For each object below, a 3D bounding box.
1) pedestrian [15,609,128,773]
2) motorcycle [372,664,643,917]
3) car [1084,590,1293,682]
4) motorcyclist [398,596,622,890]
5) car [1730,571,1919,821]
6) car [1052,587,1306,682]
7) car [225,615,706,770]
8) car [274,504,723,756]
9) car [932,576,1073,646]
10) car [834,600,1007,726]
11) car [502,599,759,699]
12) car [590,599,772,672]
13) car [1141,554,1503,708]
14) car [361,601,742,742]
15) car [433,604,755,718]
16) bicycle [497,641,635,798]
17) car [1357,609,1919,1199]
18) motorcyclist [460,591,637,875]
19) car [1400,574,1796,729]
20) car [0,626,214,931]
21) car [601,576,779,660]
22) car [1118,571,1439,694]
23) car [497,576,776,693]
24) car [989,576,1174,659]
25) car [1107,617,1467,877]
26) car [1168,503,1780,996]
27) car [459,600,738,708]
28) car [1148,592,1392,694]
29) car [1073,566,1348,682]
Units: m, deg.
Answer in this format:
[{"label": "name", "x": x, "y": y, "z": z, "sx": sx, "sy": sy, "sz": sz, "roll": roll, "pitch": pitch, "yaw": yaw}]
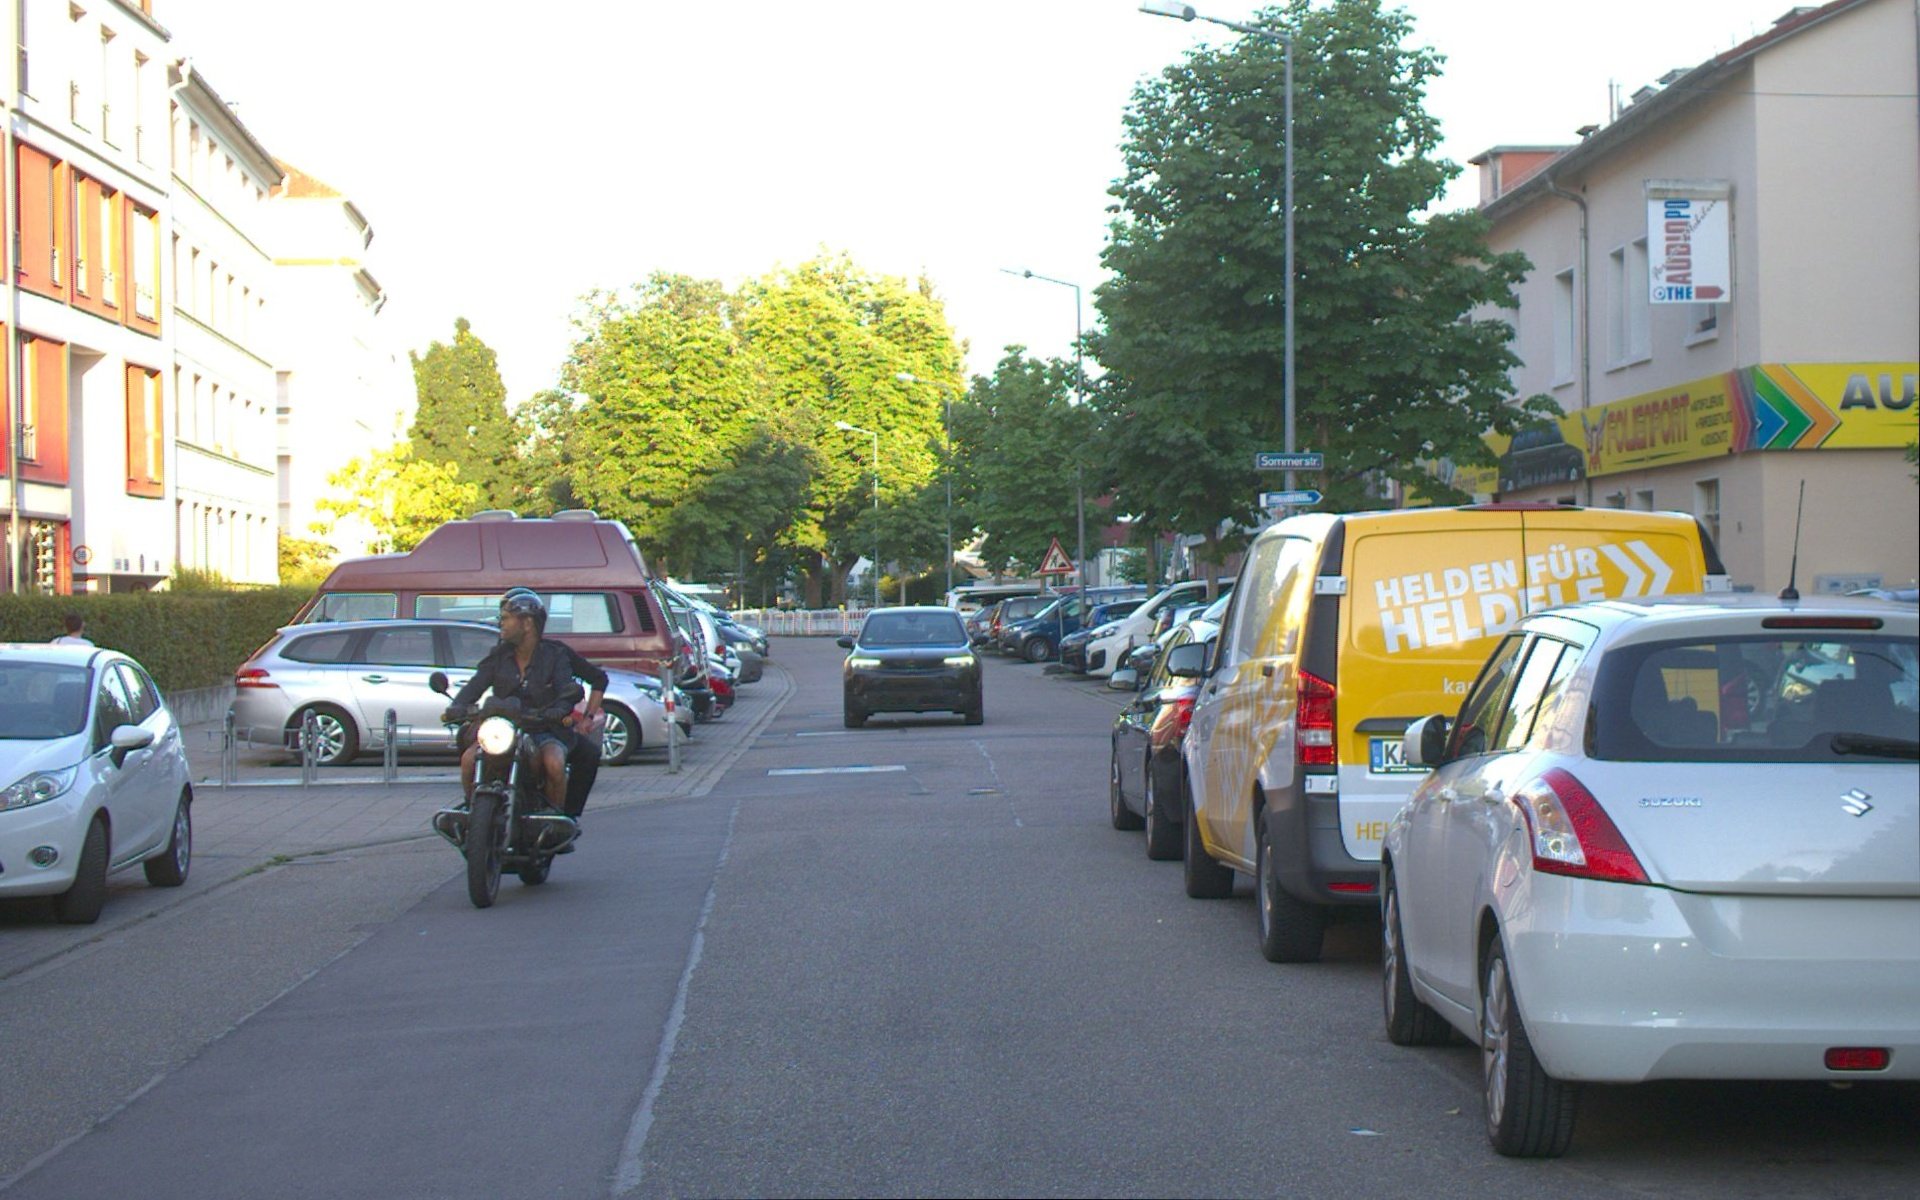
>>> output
[{"label": "pedestrian", "x": -8.275, "y": 0.836, "z": 32.031, "sx": 0.832, "sy": 1.496, "sz": 0.798, "roll": 1, "pitch": 0, "yaw": 0}, {"label": "motorcycle", "x": -2.415, "y": 0.996, "z": 18.625, "sx": 0.846, "sy": 1.205, "sz": 2.074, "roll": -3, "pitch": 0, "yaw": 9}, {"label": "car", "x": 4.996, "y": 0.780, "z": 75.563, "sx": 4.316, "sy": 1.798, "sz": 1.811, "roll": -3, "pitch": 0, "yaw": -2}, {"label": "motorcyclist", "x": -2.422, "y": 0.757, "z": 18.606, "sx": 0.890, "sy": 1.500, "sz": 0.969, "roll": -3, "pitch": 0, "yaw": 9}, {"label": "car", "x": 6.252, "y": 0.526, "z": 21.369, "sx": 1.726, "sy": 1.419, "sz": 4.424, "roll": -2, "pitch": 0, "yaw": -2}, {"label": "car", "x": 4.474, "y": 0.704, "z": 70.652, "sx": 4.943, "sy": 1.683, "sz": 2.077, "roll": -3, "pitch": 0, "yaw": -2}, {"label": "car", "x": -4.863, "y": 0.907, "z": 34.335, "sx": 4.615, "sy": 1.455, "sz": 1.881, "roll": 1, "pitch": 0, "yaw": -4}, {"label": "car", "x": -4.887, "y": 0.311, "z": 36.915, "sx": 4.511, "sy": 2.575, "sz": 2.000, "roll": 1, "pitch": 0, "yaw": 1}, {"label": "car", "x": 1.275, "y": 0.336, "z": 103.701, "sx": 3.967, "sy": 1.905, "sz": 2.049, "roll": -3, "pitch": 0, "yaw": -6}, {"label": "car", "x": -0.469, "y": 0.783, "z": 44.837, "sx": 1.780, "sy": 1.512, "sz": 3.999, "roll": -2, "pitch": 0, "yaw": 6}, {"label": "car", "x": -5.652, "y": 0.833, "z": 59.333, "sx": 4.256, "sy": 1.646, "sz": 1.888, "roll": 1, "pitch": 0, "yaw": -1}, {"label": "car", "x": -6.706, "y": 0.844, "z": 82.974, "sx": 4.256, "sy": 1.709, "sz": 2.000, "roll": 1, "pitch": 0, "yaw": -1}, {"label": "car", "x": 5.260, "y": 0.447, "z": 50.552, "sx": 4.990, "sy": 1.976, "sz": 2.220, "roll": -3, "pitch": 0, "yaw": 0}, {"label": "car", "x": -4.634, "y": 0.807, "z": 39.443, "sx": 4.208, "sy": 1.533, "sz": 1.791, "roll": 1, "pitch": 0, "yaw": -3}, {"label": "car", "x": -4.974, "y": 0.821, "z": 47.090, "sx": 4.209, "sy": 1.485, "sz": 1.850, "roll": 1, "pitch": 0, "yaw": 0}, {"label": "bicycle", "x": -3.302, "y": 0.975, "z": 29.052, "sx": 0.808, "sy": 1.217, "sz": 2.865, "roll": 1, "pitch": 0, "yaw": 0}, {"label": "car", "x": 2.220, "y": 0.769, "z": 10.381, "sx": 1.674, "sy": 1.472, "sz": 3.861, "roll": 0, "pitch": 0, "yaw": 1}, {"label": "motorcyclist", "x": -2.316, "y": 0.741, "z": 19.370, "sx": 0.787, "sy": 1.535, "sz": 0.545, "roll": -3, "pitch": -1, "yaw": 9}, {"label": "car", "x": 7.080, "y": 0.560, "z": 38.421, "sx": 4.050, "sy": 1.509, "sz": 1.756, "roll": -2, "pitch": 2, "yaw": 0}, {"label": "car", "x": -5.352, "y": 0.923, "z": 19.441, "sx": 1.650, "sy": 1.525, "sz": 4.018, "roll": 0, "pitch": 0, "yaw": -4}, {"label": "car", "x": -7.069, "y": 0.461, "z": 90.382, "sx": 4.533, "sy": 2.127, "sz": 2.000, "roll": 1, "pitch": 0, "yaw": -1}, {"label": "car", "x": 5.133, "y": 0.521, "z": 55.895, "sx": 4.944, "sy": 1.736, "sz": 2.049, "roll": -3, "pitch": 0, "yaw": 0}, {"label": "car", "x": -5.782, "y": 0.611, "z": 61.887, "sx": 4.850, "sy": 2.014, "sz": 1.906, "roll": 1, "pitch": 0, "yaw": -1}, {"label": "car", "x": 3.090, "y": 0.449, "z": 88.109, "sx": 4.478, "sy": 1.905, "sz": 1.688, "roll": -3, "pitch": 0, "yaw": -6}, {"label": "car", "x": 1.918, "y": 0.833, "z": 21.313, "sx": 1.721, "sy": 1.419, "sz": 4.253, "roll": 1, "pitch": 0, "yaw": -1}, {"label": "car", "x": 2.120, "y": 0.571, "z": 15.682, "sx": 1.893, "sy": 1.877, "sz": 5.082, "roll": 0, "pitch": 0, "yaw": -2}, {"label": "car", "x": -5.741, "y": 0.850, "z": 54.976, "sx": 4.256, "sy": 1.655, "sz": 2.000, "roll": 1, "pitch": 0, "yaw": -1}, {"label": "car", "x": 5.238, "y": 0.724, "z": 58.512, "sx": 3.911, "sy": 1.521, "sz": 1.939, "roll": -3, "pitch": 0, "yaw": 0}, {"label": "car", "x": 4.756, "y": 0.457, "z": 65.764, "sx": 4.943, "sy": 1.951, "sz": 2.049, "roll": -3, "pitch": 0, "yaw": -2}]
